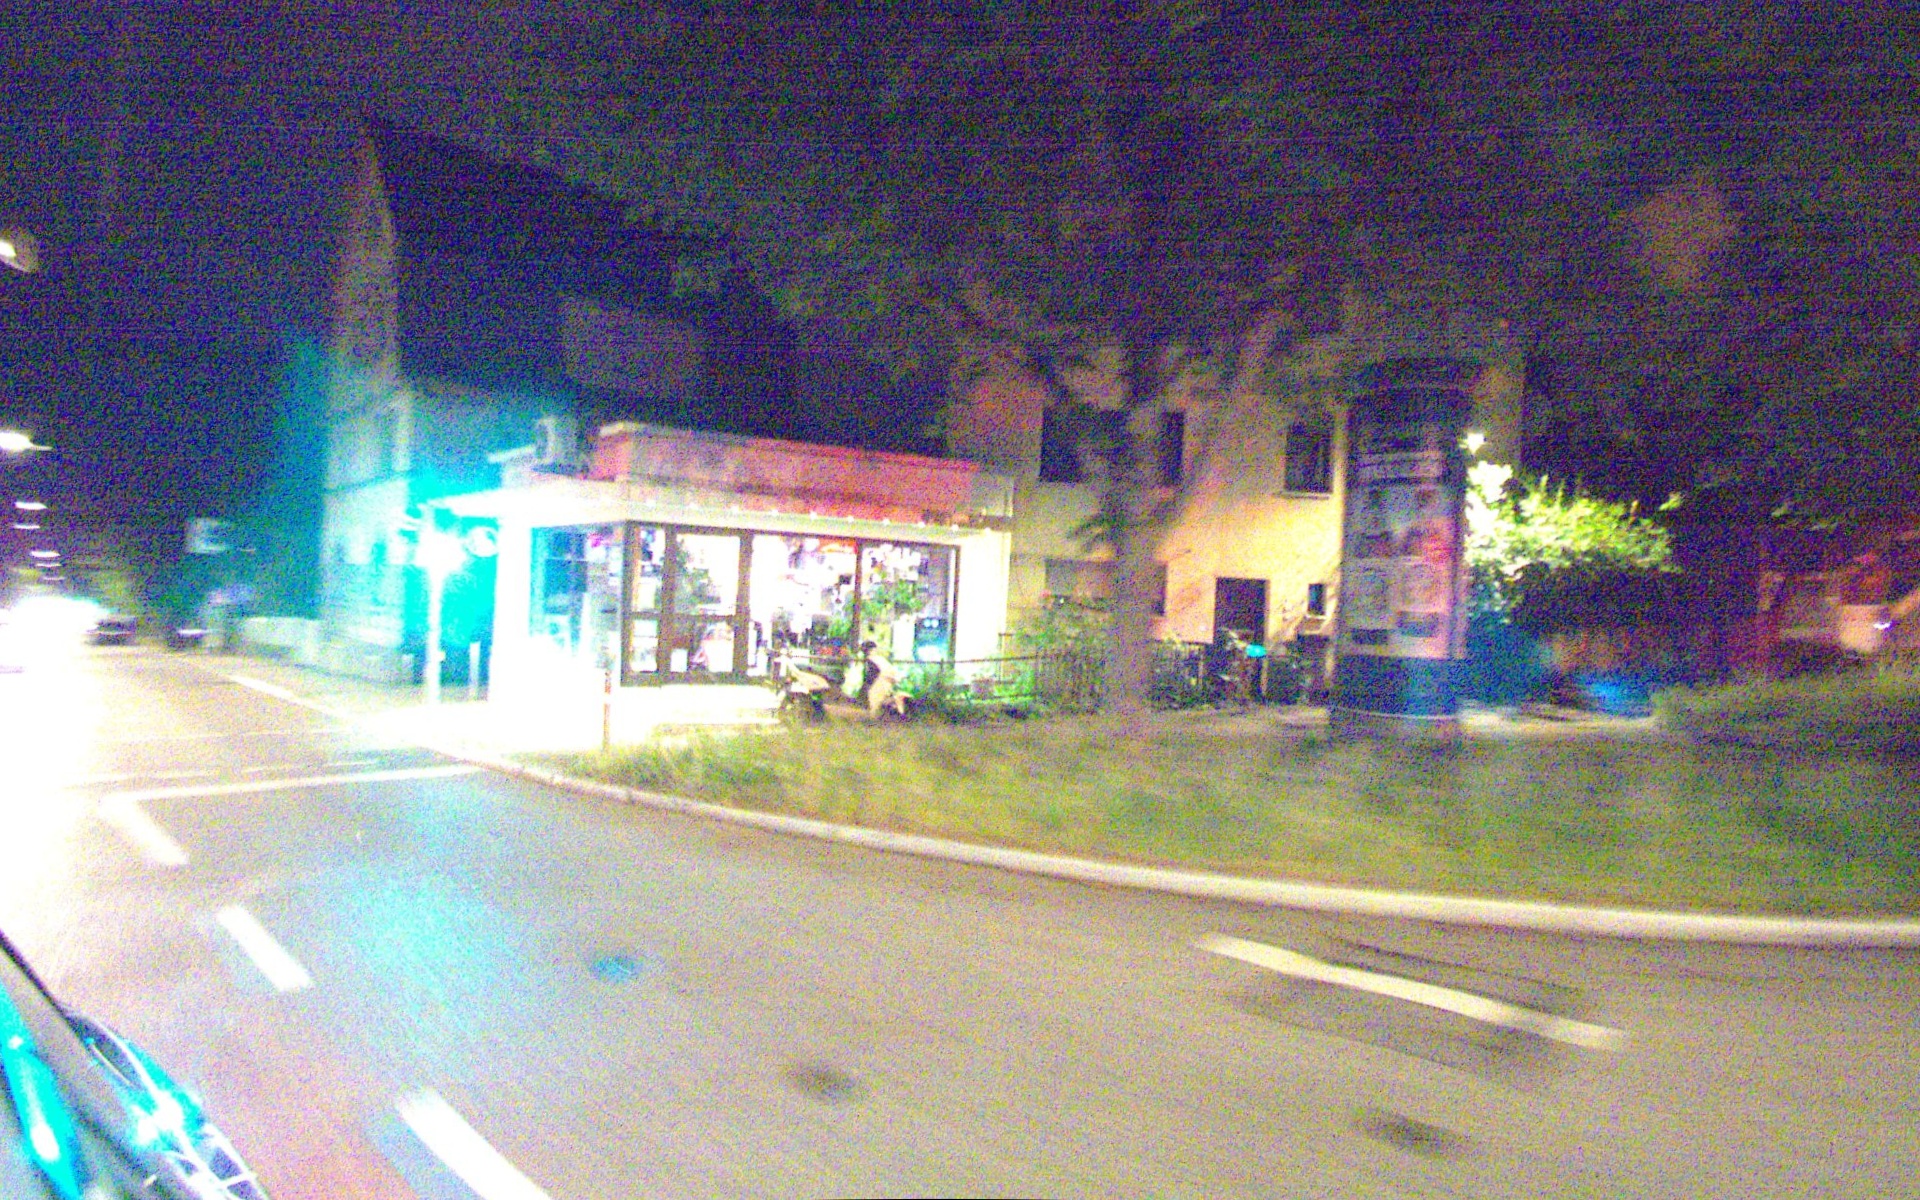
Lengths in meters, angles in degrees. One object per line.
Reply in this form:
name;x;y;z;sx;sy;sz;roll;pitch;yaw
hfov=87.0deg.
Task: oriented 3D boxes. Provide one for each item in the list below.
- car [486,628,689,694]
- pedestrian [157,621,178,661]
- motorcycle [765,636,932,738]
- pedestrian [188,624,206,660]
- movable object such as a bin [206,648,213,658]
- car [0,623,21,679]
car;-8.414;1.365;23.072;3.939;1.374;1.804;3;-3;-43
pedestrian;-33.603;1.727;42.915;0.639;1.654;0.749;1;-2;-40
motorcycle;-1.389;1.081;12.734;2.014;1.239;0.617;-1;-1;3
pedestrian;-33.278;1.815;44.147;0.553;1.542;0.590;1;-2;-42
movable object such as a bin;-32.966;2.329;44.434;0.228;0.410;0.467;1;-2;-40
car;-27.800;1.444;28.833;1.491;1.513;3.052;-1;0;-44
